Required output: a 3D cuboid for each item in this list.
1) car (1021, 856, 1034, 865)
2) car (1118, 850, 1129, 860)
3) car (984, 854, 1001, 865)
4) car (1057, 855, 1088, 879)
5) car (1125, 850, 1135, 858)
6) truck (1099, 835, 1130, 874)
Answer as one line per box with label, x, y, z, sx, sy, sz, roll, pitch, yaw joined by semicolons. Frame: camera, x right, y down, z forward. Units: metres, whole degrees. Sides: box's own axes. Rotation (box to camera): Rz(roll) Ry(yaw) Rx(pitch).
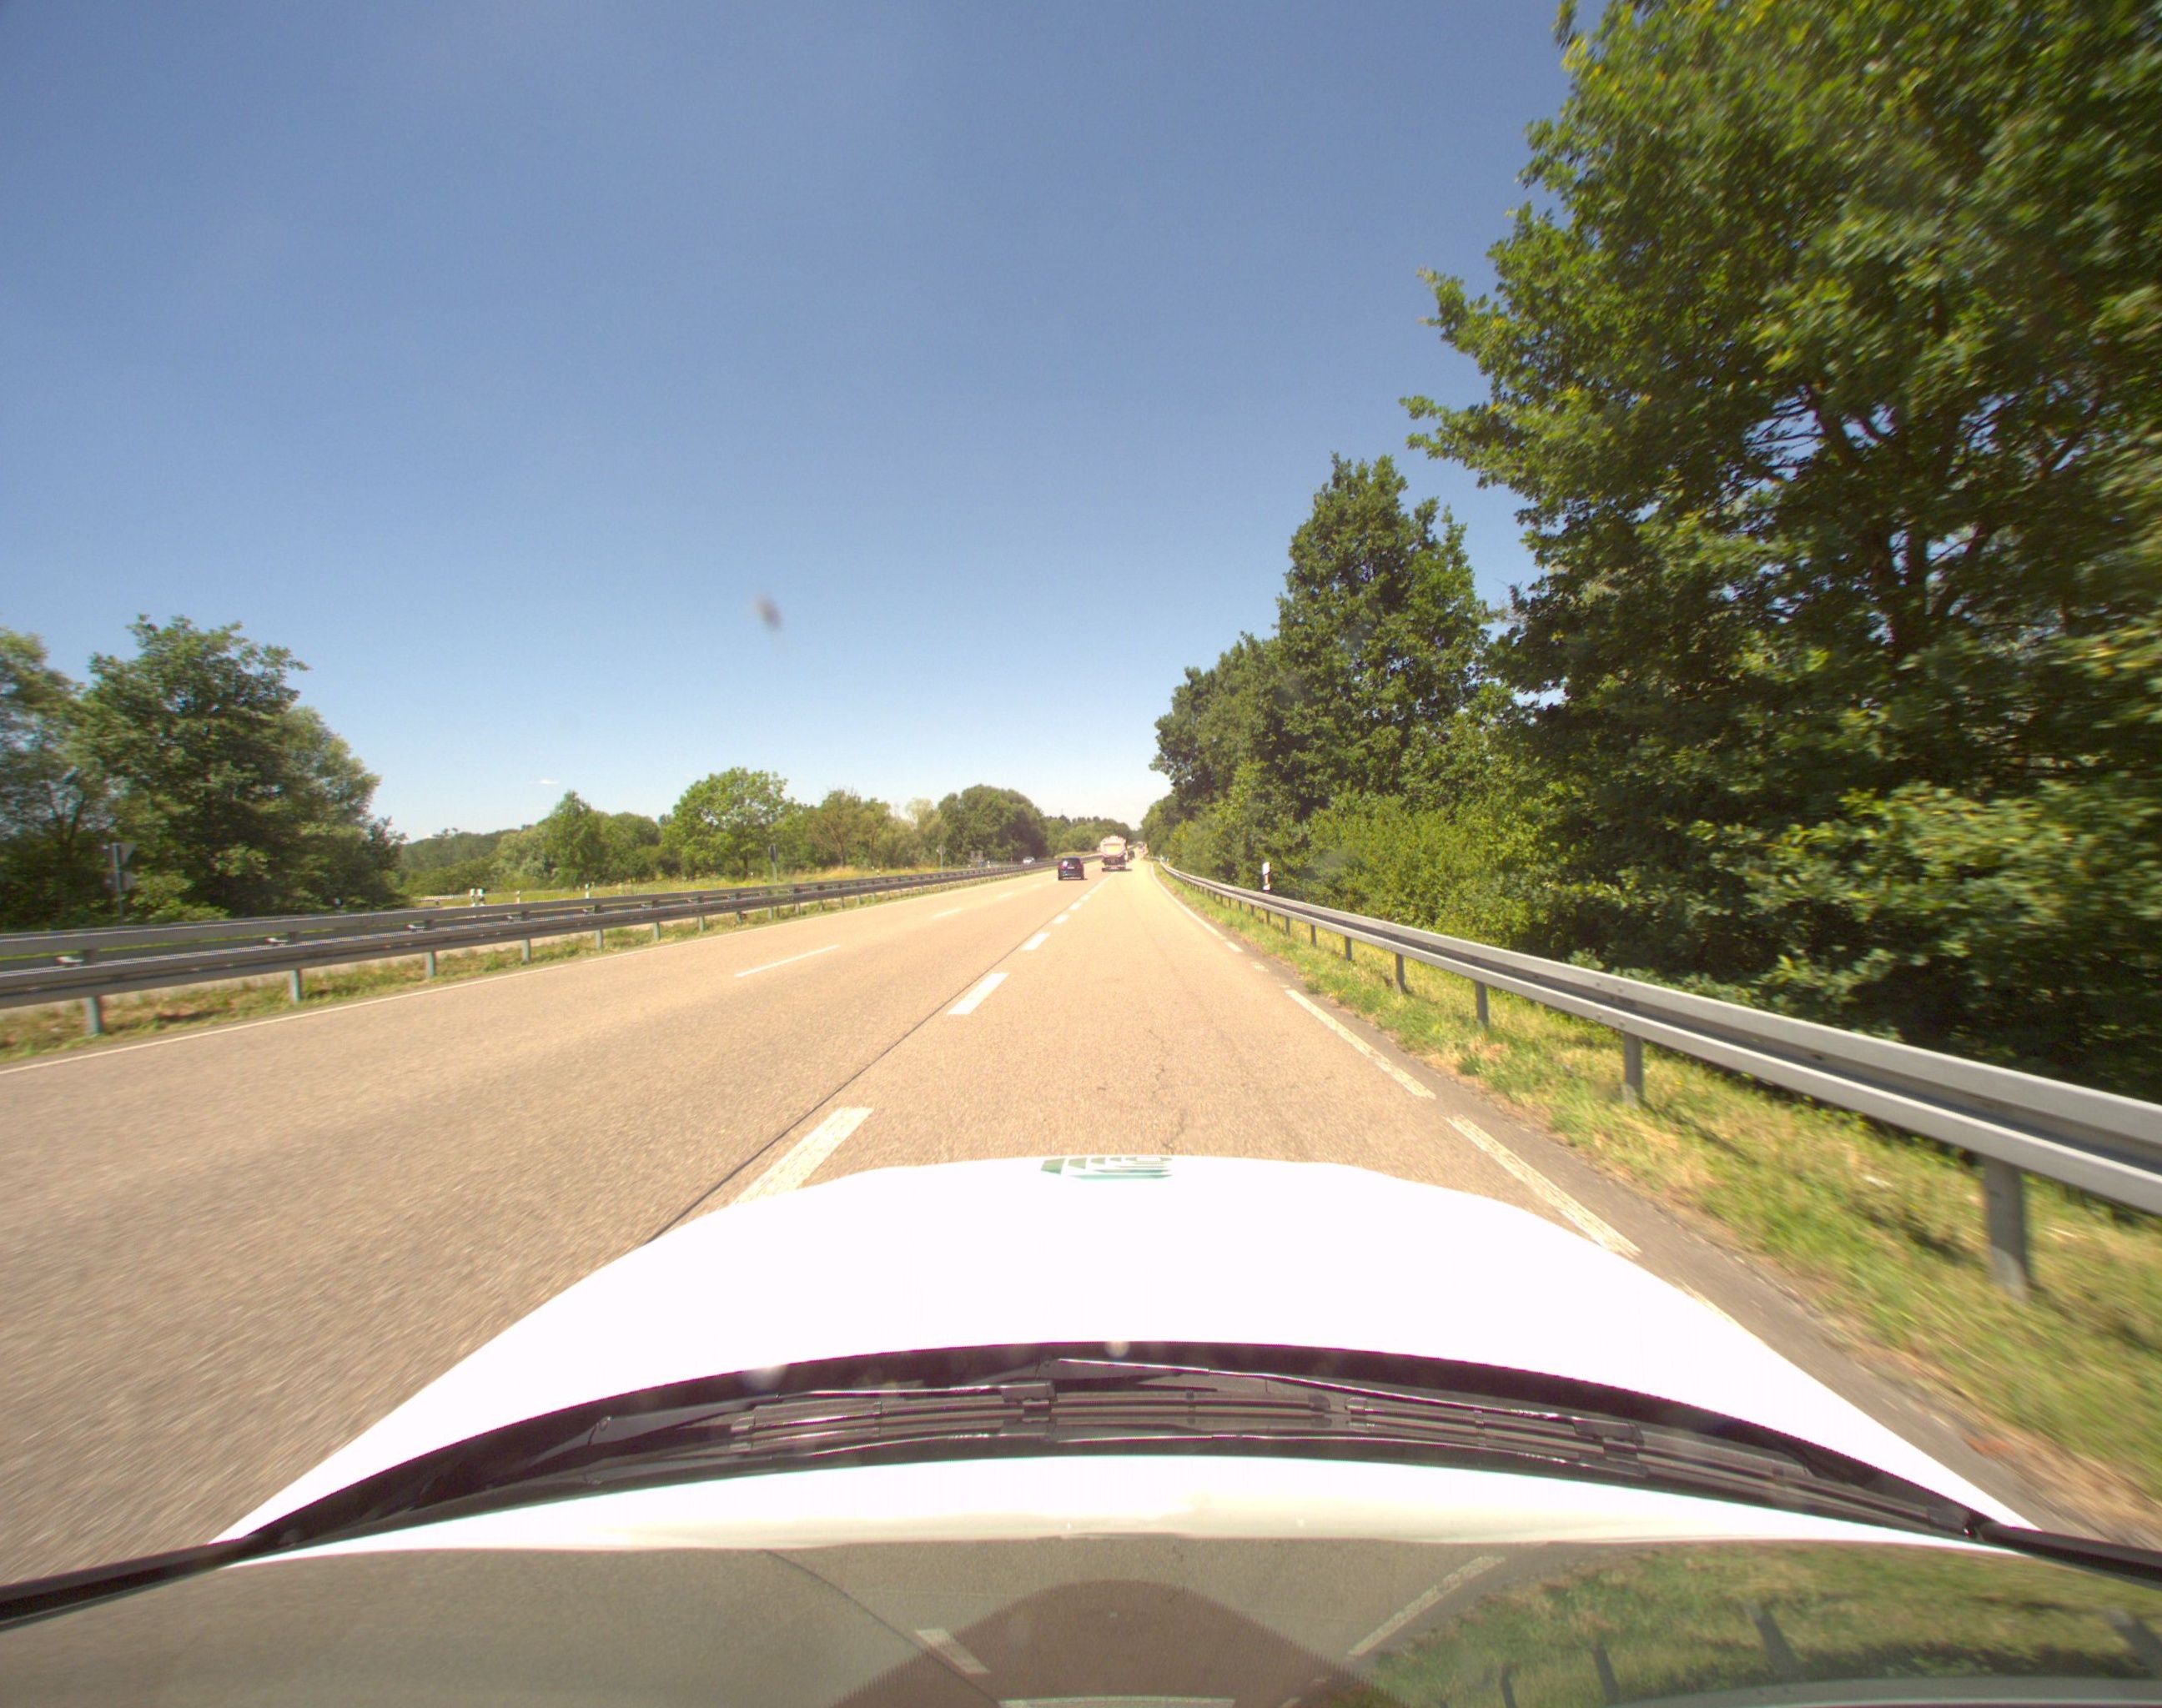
car;-9.984;1.205;152.111;1.716;1.645;4.949;-1;0;5
car;7.738;0.220;146.765;1.849;1.671;4.005;-2;-1;5
car;-12.620;0.790;116.357;1.912;1.489;3.998;-1;-1;-1
car;-0.606;0.978;60.424;1.849;1.671;4.005;-2;-1;5
car;10.145;-0.012;168.125;1.849;1.671;4.005;-2;-1;5
truck;3.792;-0.032;89.909;2.707;3.929;12.388;-2;1;5
